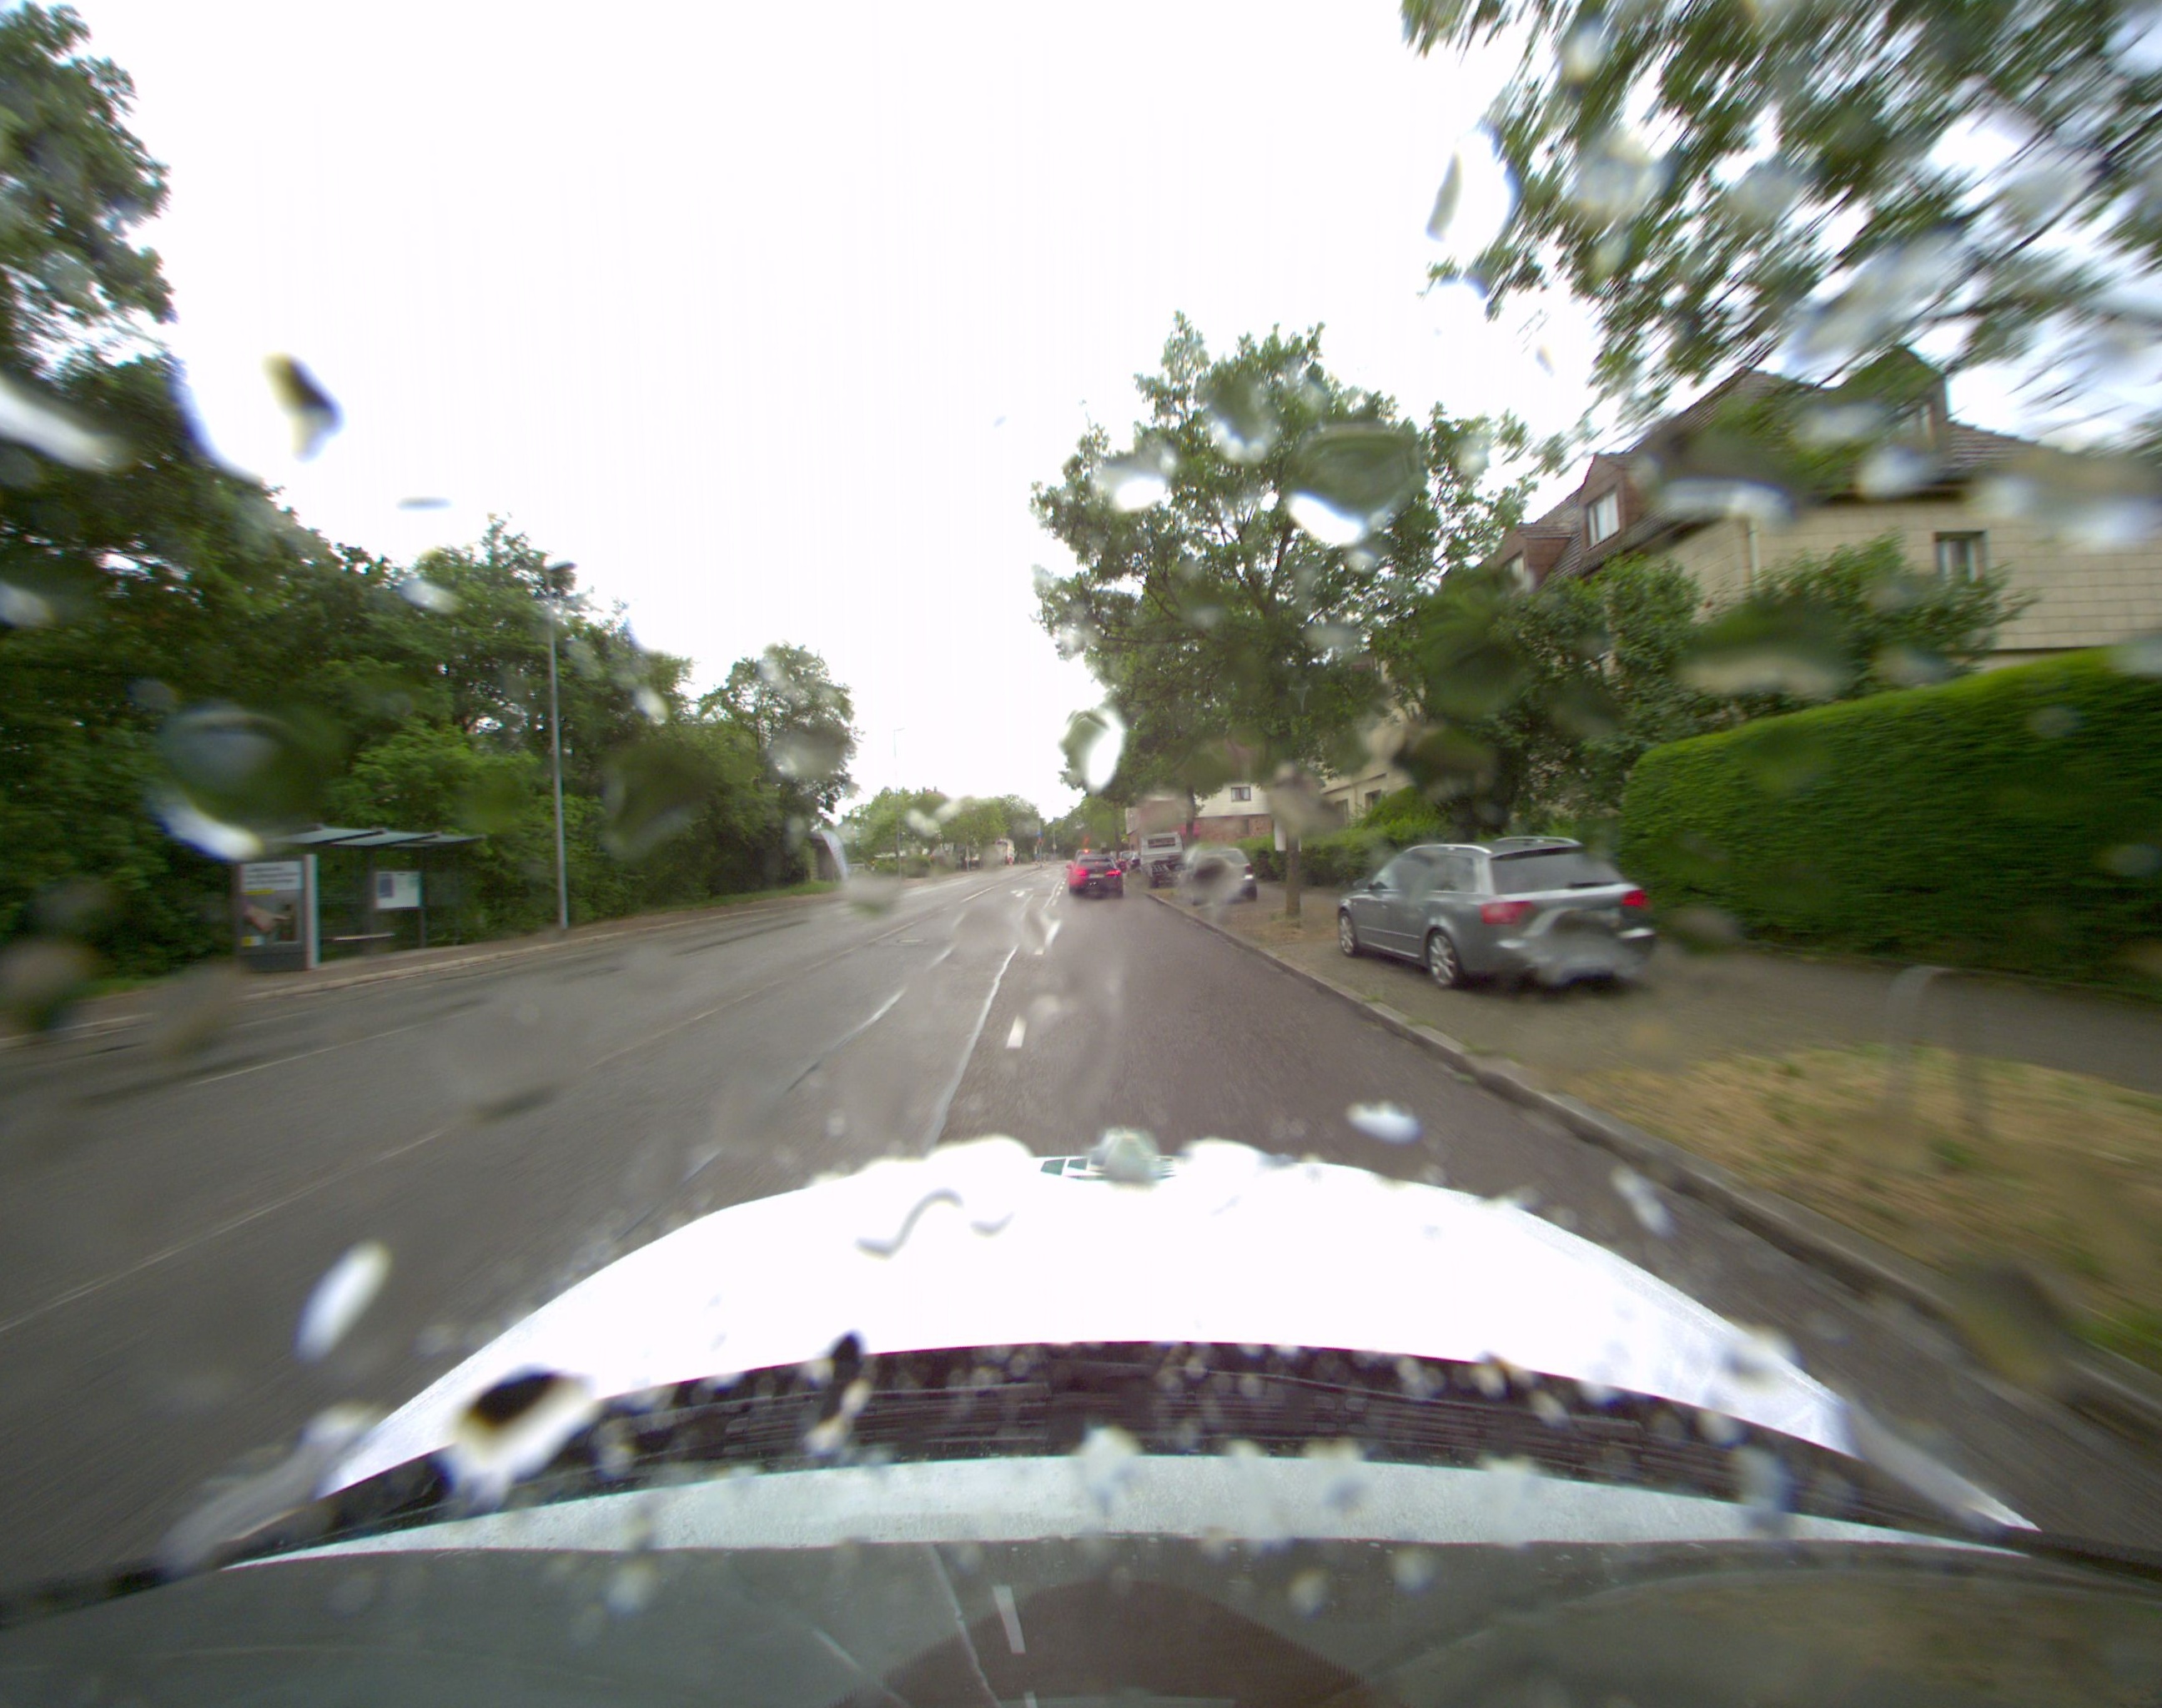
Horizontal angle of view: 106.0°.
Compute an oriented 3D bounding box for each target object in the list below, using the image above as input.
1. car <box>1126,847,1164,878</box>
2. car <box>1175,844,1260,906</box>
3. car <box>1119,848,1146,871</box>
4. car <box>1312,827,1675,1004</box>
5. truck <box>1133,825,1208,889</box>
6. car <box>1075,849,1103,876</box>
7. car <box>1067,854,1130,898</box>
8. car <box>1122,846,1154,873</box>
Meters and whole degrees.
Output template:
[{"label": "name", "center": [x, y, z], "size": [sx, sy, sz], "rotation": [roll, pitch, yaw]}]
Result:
[{"label": "car", "center": [3.487, 0.423, 45.125], "size": [1.709, 1.498, 4.183], "rotation": [-5, 0, 0]}, {"label": "car", "center": [3.727, 0.515, 22.851], "size": [1.596, 1.436, 4.021], "rotation": [-5, 1, 0]}, {"label": "car", "center": [3.778, 0.390, 60.539], "size": [1.580, 1.490, 3.625], "rotation": [-5, 1, -2]}, {"label": "car", "center": [4.201, 0.523, 9.268], "size": [1.683, 1.389, 4.497], "rotation": [-5, 0, -1]}, {"label": "truck", "center": [3.557, 0.109, 33.767], "size": [2.074, 2.221, 6.498], "rotation": [-5, 0, -1]}, {"label": "car", "center": [0.509, 0.565, 56.979], "size": [1.779, 1.817, 3.998], "rotation": [-2, 0, -1]}, {"label": "car", "center": [0.570, 0.752, 29.813], "size": [2.059, 1.446, 4.480], "rotation": [-1, 0, -2]}, {"label": "car", "center": [3.556, 0.348, 51.194], "size": [1.599, 1.472, 3.856], "rotation": [-6, 0, 0]}]
